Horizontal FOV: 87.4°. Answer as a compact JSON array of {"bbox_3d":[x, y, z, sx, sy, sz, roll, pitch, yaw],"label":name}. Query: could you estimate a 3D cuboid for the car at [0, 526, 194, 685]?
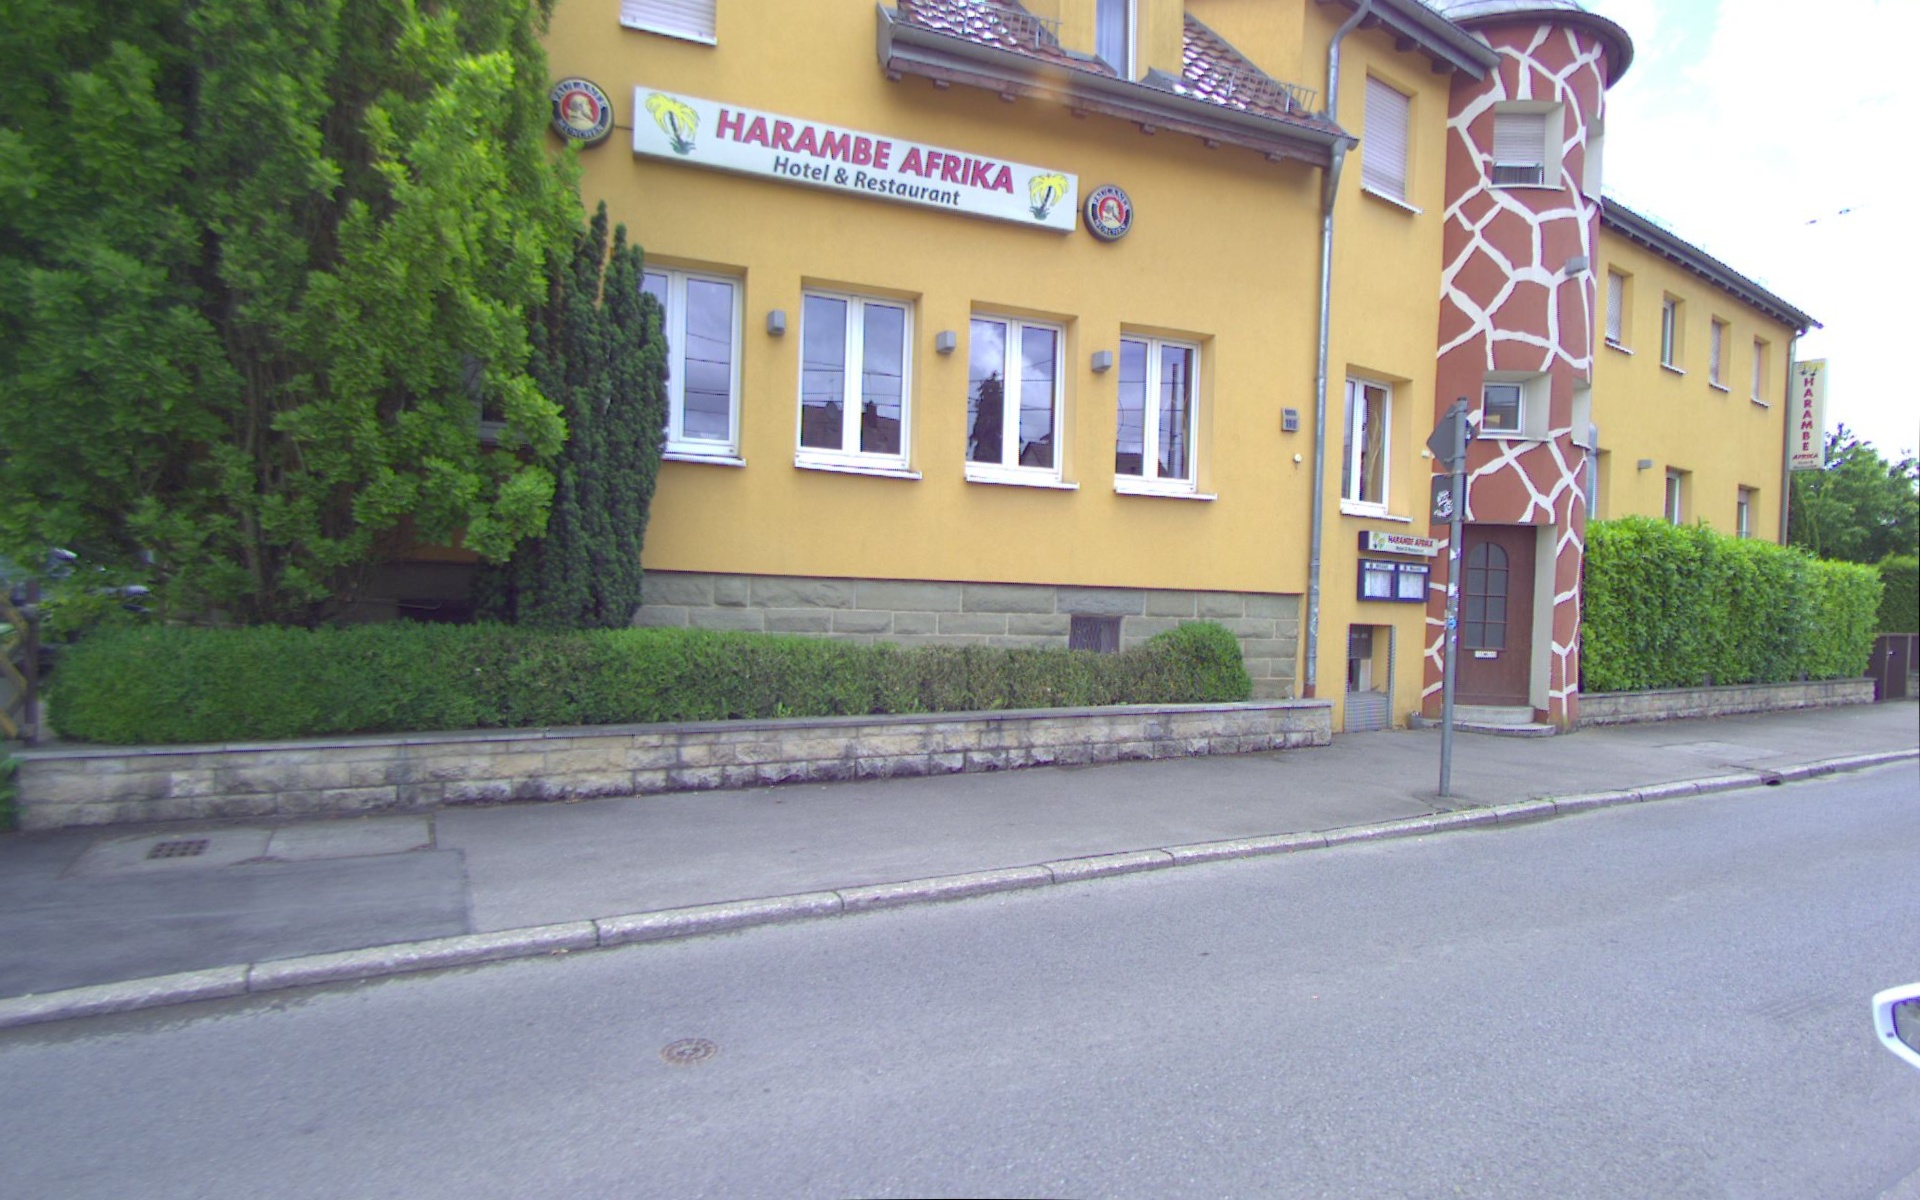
[{"bbox_3d":[-9.859,0.002,9.720,3.633,1.447,1.714,1,4,-28],"label":"car"}]
